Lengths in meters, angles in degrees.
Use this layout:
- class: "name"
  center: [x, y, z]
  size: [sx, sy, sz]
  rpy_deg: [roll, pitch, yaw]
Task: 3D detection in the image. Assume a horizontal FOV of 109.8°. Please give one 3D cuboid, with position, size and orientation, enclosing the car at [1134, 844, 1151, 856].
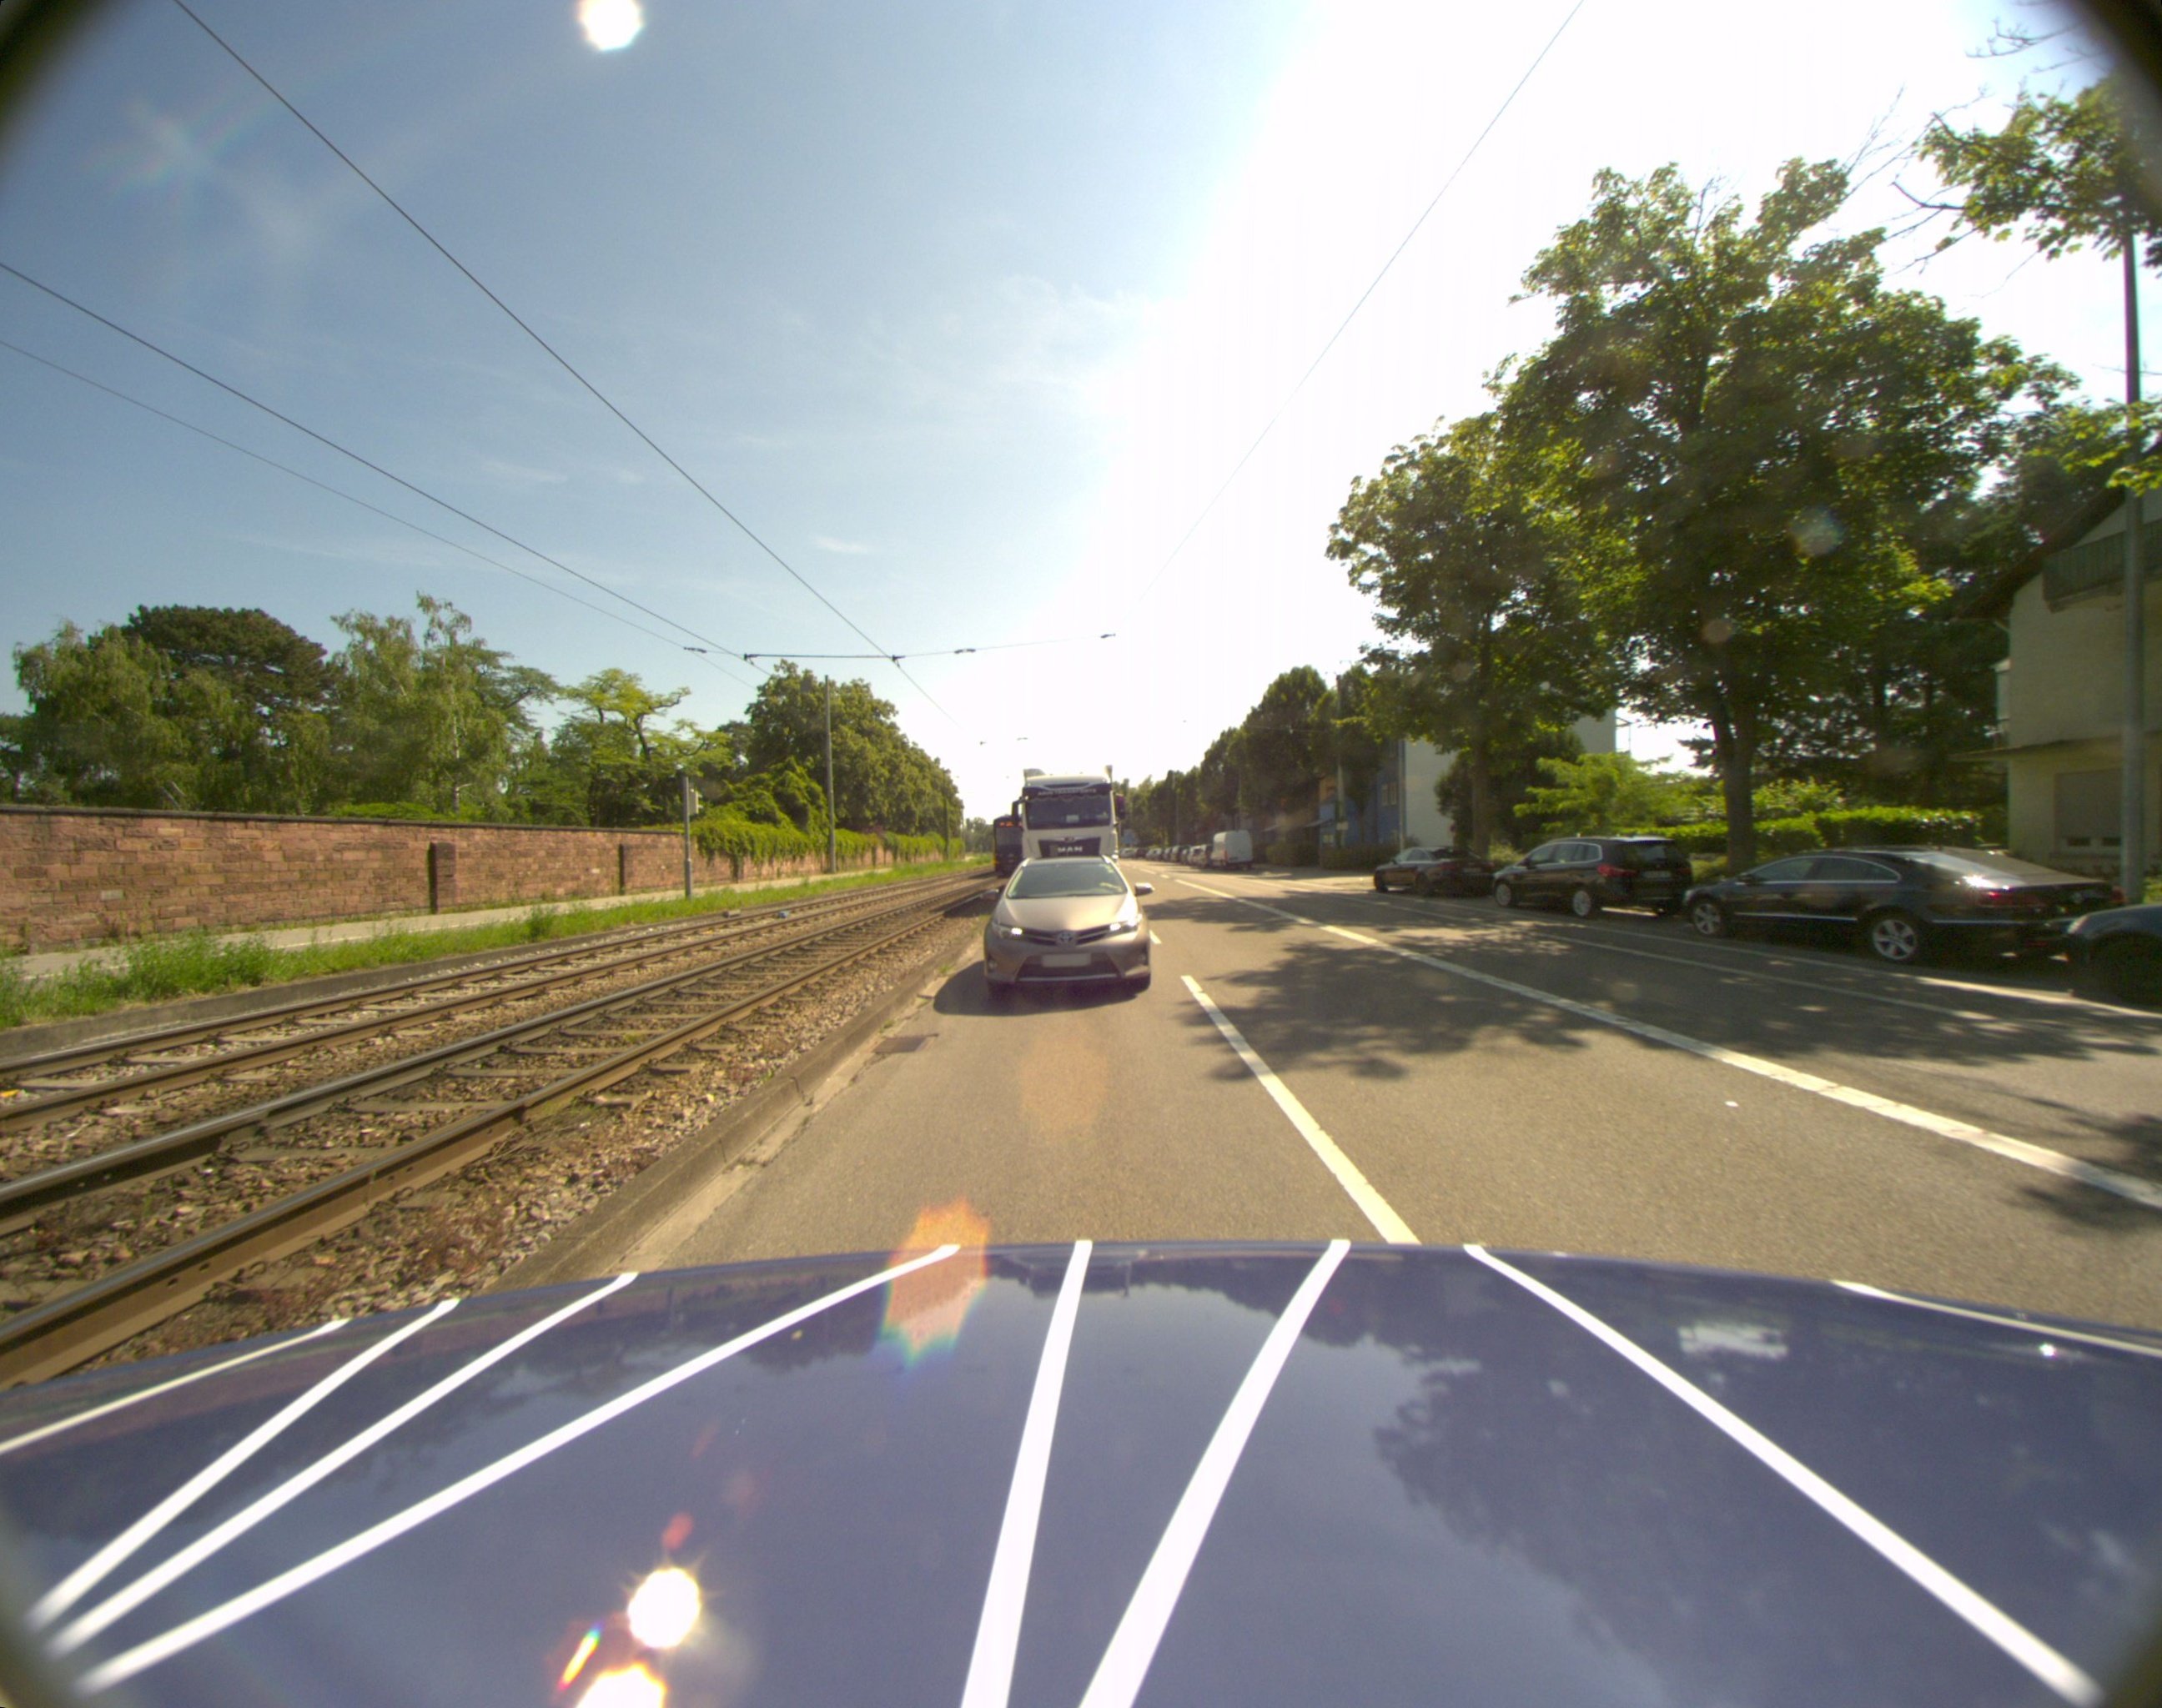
- class: "car"
  center: [8.622, -0.549, 106.611]
  size: [1.680, 1.493, 3.764]
  rpy_deg: [-5, 1, -6]

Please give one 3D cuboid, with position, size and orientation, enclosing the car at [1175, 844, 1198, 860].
- class: "car"
  center: [10.738, -0.235, 77.435]
  size: [1.679, 1.493, 3.766]
  rpy_deg: [-4, 1, 1]

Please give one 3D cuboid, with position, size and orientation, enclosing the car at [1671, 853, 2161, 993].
- class: "car"
  center: [10.586, 0.723, 10.268]
  size: [1.701, 1.387, 4.580]
  rpy_deg: [-1, 1, 1]

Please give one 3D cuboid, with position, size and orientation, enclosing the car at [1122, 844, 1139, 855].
- class: "car"
  center: [7.477, -0.659, 115.197]
  size: [1.680, 1.493, 3.763]
  rpy_deg: [-5, 1, -10]

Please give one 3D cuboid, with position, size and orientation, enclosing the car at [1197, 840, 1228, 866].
- class: "car"
  center: [10.696, -0.120, 61.947]
  size: [1.679, 1.925, 4.457]
  rpy_deg: [-4, 1, 1]

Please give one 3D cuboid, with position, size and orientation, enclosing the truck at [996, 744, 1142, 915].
- class: "truck"
  center: [-0.251, -0.685, 25.733]
  size: [3.391, 4.046, 14.284]
  rpy_deg: [-2, 1, 0]

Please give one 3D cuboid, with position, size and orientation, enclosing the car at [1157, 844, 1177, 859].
- class: "car"
  center: [10.054, -0.308, 89.265]
  size: [1.679, 1.493, 3.765]
  rpy_deg: [-5, 1, -3]

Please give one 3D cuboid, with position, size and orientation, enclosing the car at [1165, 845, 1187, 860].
- class: "car"
  center: [10.372, -0.203, 83.149]
  size: [1.679, 1.493, 3.765]
  rpy_deg: [-5, 1, -3]

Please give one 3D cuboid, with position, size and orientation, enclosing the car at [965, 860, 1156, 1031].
- class: "car"
  center: [-0.181, 0.870, 9.095]
  size: [1.719, 1.439, 4.030]
  rpy_deg: [-3, 1, 0]

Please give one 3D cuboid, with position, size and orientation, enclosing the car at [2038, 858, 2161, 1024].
- class: "car"
  center: [10.342, 0.786, 5.547]
  size: [1.619, 1.442, 4.083]
  rpy_deg: [-1, 1, 2]

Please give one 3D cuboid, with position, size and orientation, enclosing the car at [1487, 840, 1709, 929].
- class: "car"
  center: [10.539, 0.529, 15.935]
  size: [1.679, 1.603, 4.241]
  rpy_deg: [-1, 1, -2]

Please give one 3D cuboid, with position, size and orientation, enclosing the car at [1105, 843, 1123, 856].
- class: "car"
  center: [4.288, -0.561, 99.590]
  size: [1.848, 1.587, 3.998]
  rpy_deg: [-3, 1, -5]

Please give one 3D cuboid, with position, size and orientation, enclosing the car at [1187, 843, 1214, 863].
- class: "car"
  center: [10.598, -0.103, 67.592]
  size: [1.679, 1.659, 4.147]
  rpy_deg: [-4, 1, 1]

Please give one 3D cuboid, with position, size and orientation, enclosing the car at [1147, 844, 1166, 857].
- class: "car"
  center: [9.540, -0.426, 96.271]
  size: [1.679, 1.493, 3.765]
  rpy_deg: [-5, 1, -3]

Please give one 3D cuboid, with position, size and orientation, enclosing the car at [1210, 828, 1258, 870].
- class: "car"
  center: [10.685, -0.392, 53.614]
  size: [2.016, 2.636, 6.085]
  rpy_deg: [-4, 1, 1]

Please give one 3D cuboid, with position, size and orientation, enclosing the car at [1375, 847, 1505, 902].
- class: "car"
  center: [10.506, 0.529, 22.640]
  size: [1.679, 1.427, 4.456]
  rpy_deg: [-1, 1, -2]

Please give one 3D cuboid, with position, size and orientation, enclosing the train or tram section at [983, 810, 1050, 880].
- class: "train or tram section"
  center: [-3.757, -0.660, 48.606]
  size: [2.676, 3.631, 15.302]
  rpy_deg: [-3, 1, 1]

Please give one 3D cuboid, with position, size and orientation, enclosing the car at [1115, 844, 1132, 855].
- class: "car"
  center: [6.691, -0.717, 119.953]
  size: [1.680, 1.493, 3.763]
  rpy_deg: [-5, 1, -10]

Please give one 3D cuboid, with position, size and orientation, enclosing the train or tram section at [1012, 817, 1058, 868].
- class: "train or tram section"
  center: [-3.674, -1.029, 65.742]
  size: [2.679, 3.631, 18.953]
  rpy_deg: [-3, 1, 0]
